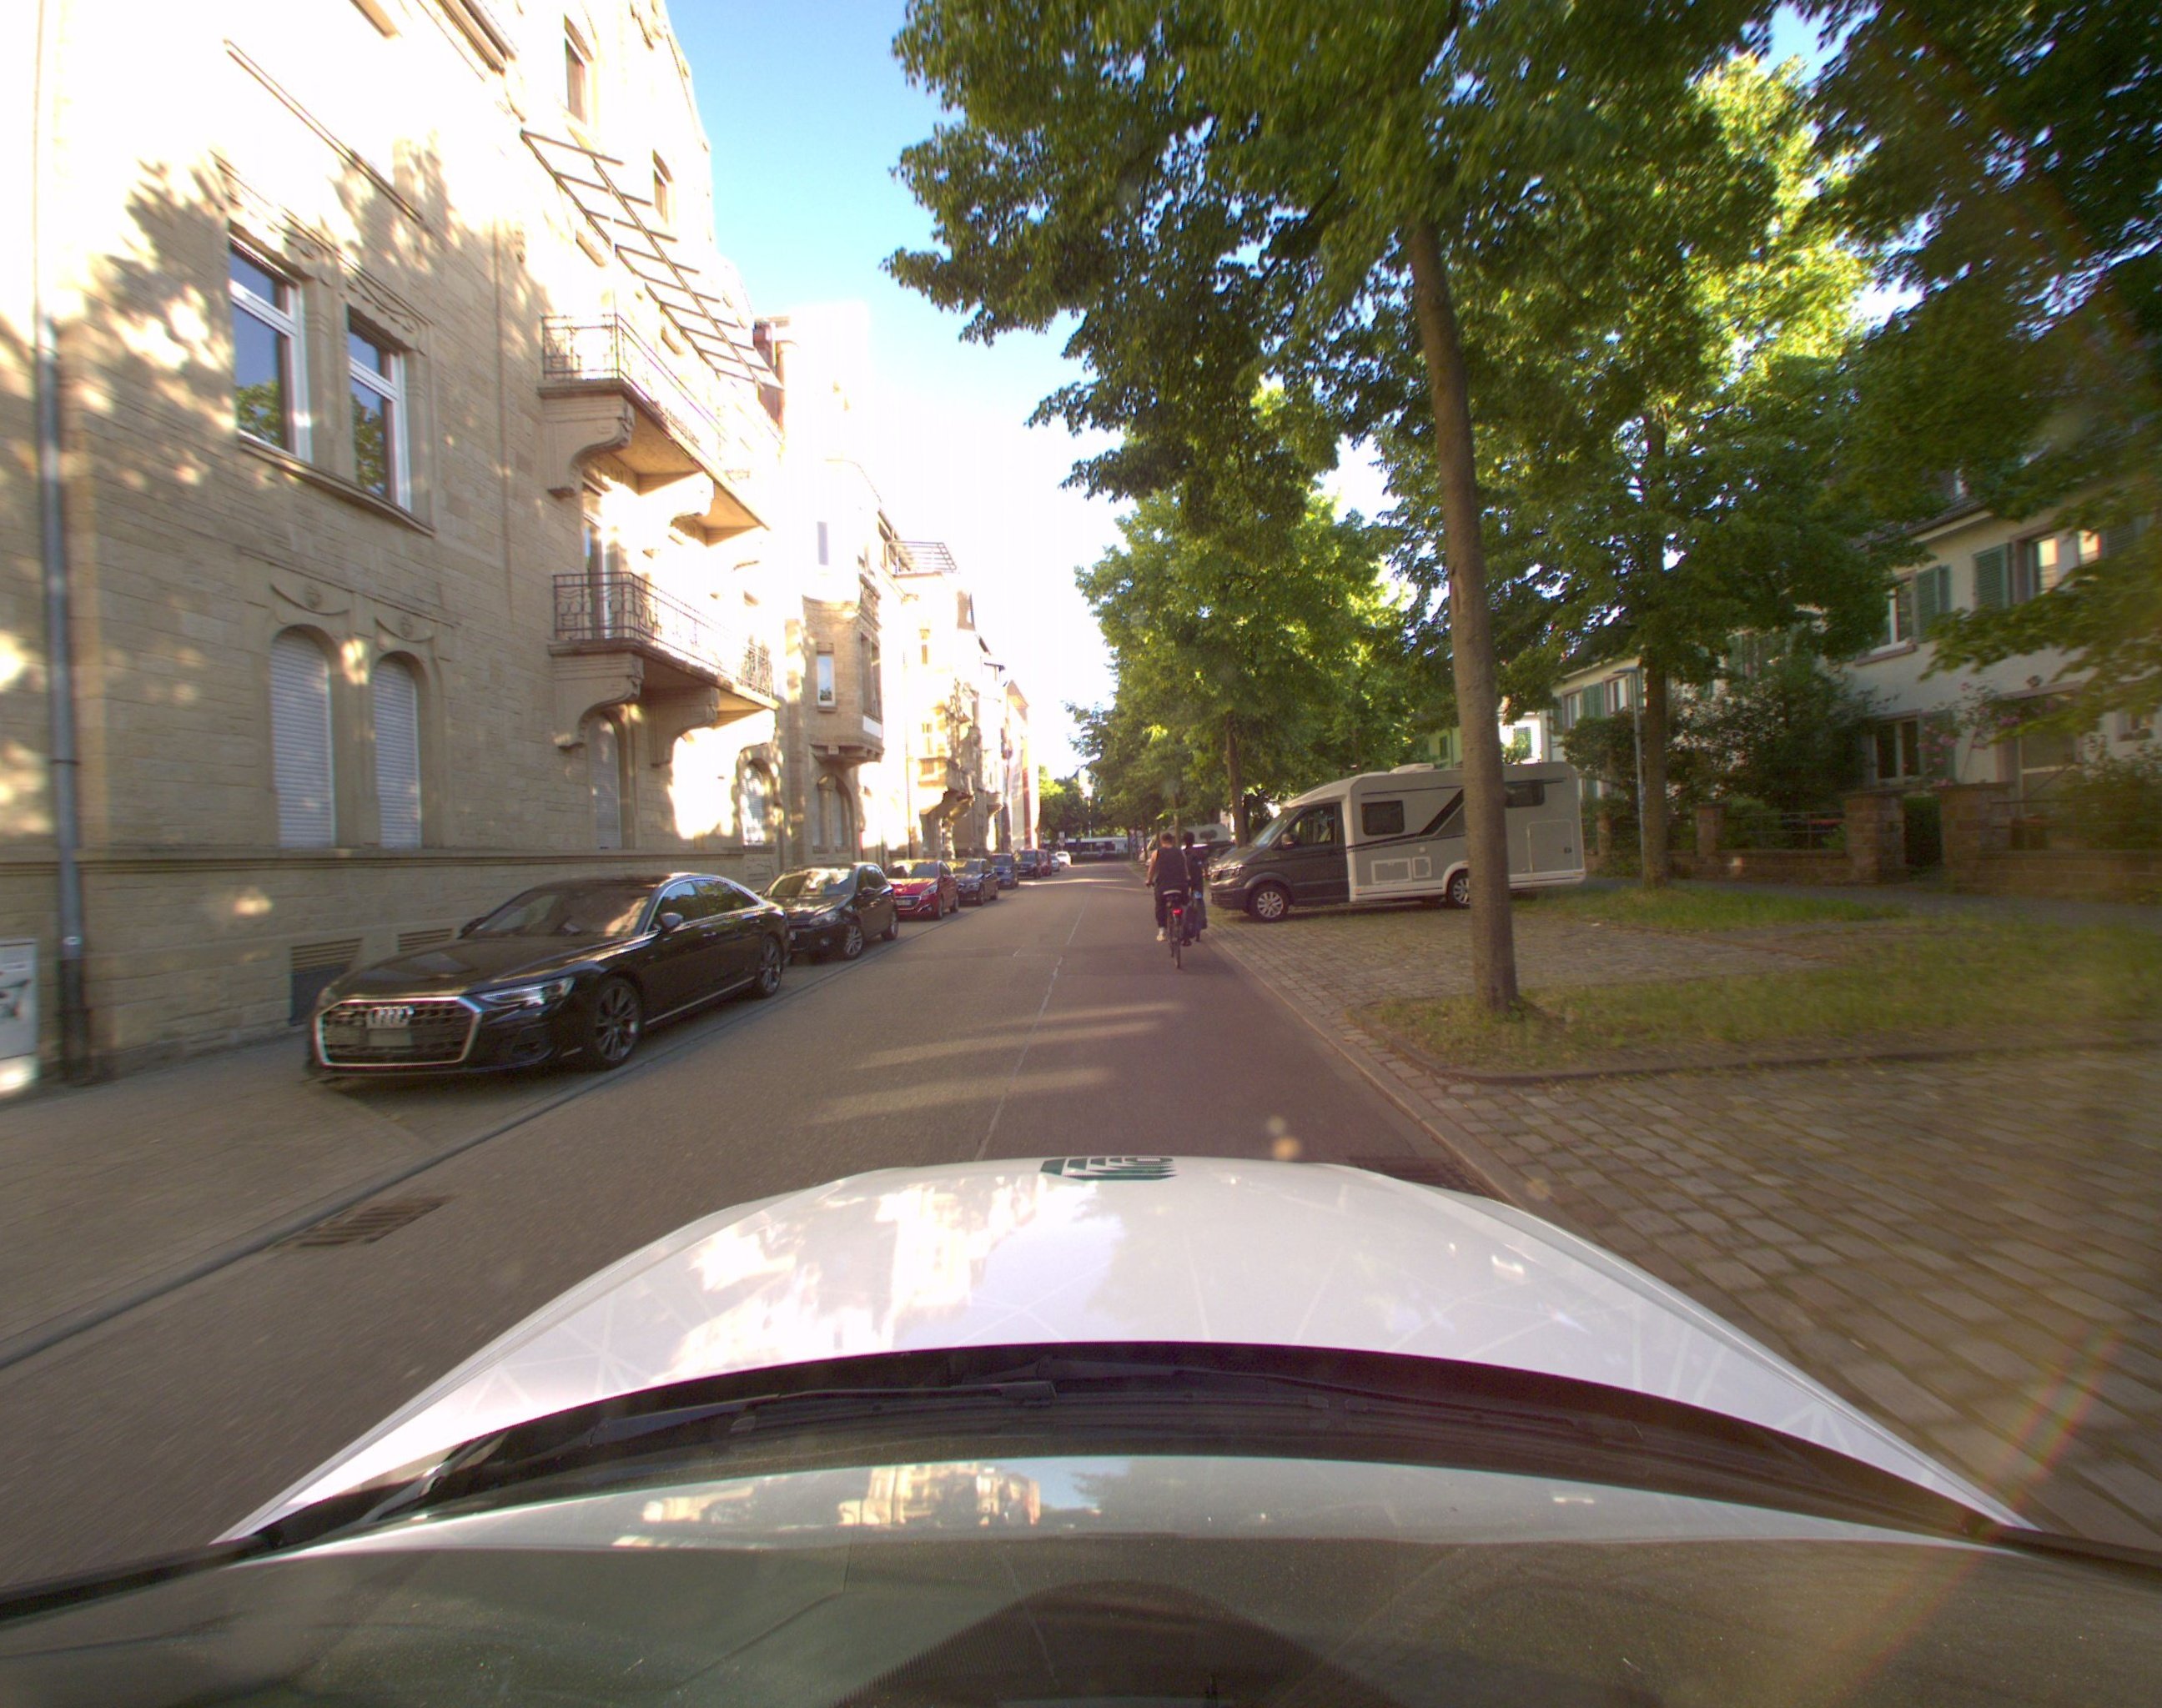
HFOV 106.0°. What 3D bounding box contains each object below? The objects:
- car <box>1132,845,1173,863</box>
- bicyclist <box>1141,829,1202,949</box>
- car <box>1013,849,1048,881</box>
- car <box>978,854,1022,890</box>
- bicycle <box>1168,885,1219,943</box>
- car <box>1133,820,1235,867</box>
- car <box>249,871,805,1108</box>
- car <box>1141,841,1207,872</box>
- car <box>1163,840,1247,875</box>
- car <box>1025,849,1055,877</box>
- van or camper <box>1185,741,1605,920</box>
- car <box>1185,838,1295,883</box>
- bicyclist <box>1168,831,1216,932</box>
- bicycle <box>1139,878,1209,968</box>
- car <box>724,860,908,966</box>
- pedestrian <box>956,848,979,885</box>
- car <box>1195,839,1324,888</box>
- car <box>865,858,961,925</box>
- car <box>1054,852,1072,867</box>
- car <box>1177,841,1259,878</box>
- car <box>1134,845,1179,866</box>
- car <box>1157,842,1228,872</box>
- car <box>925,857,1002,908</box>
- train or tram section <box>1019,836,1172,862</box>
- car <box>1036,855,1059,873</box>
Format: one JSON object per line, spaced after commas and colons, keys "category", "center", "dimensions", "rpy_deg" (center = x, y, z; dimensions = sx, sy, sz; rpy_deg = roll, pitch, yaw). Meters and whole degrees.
{"category": "car", "center": [7.289, -0.008, 83.183], "dimensions": [3.975, 1.803, 1.833], "rpy_deg": [-1, -1, -1]}
{"category": "bicyclist", "center": [1.197, 0.451, 10.952], "dimensions": [0.727, 1.547, 0.884], "rpy_deg": [0, -1, 0]}
{"category": "car", "center": [-3.006, 0.626, 49.065], "dimensions": [1.634, 1.783, 4.357], "rpy_deg": [0, 1, 2]}
{"category": "car", "center": [-3.528, 0.761, 35.766], "dimensions": [1.590, 1.489, 2.736], "rpy_deg": [1, 1, 0]}
{"category": "bicycle", "center": [1.867, 0.972, 13.729], "dimensions": [0.631, 0.799, 1.833], "rpy_deg": [-3, 0, 2]}
{"category": "car", "center": [7.655, -0.755, 60.945], "dimensions": [7.126, 2.978, 2.463], "rpy_deg": [-4, 0, -1]}
{"category": "car", "center": [-4.409, 0.924, 7.714], "dimensions": [1.804, 1.427, 4.899], "rpy_deg": [0, 0, 1]}
{"category": "car", "center": [6.075, 0.138, 53.622], "dimensions": [4.070, 1.650, 1.640], "rpy_deg": [-5, 0, -1]}
{"category": "car", "center": [6.427, 0.187, 42.530], "dimensions": [4.121, 1.600, 1.704], "rpy_deg": [-3, -2, 3]}
{"category": "car", "center": [-2.787, 0.592, 56.092], "dimensions": [1.682, 1.825, 4.275], "rpy_deg": [0, 1, 2]}
{"category": "van or camper", "center": [5.796, -0.409, 15.964], "dimensions": [7.117, 2.647, 2.466], "rpy_deg": [-5, 0, 3]}
{"category": "car", "center": [6.472, 0.272, 33.570], "dimensions": [4.205, 1.600, 1.692], "rpy_deg": [-3, -2, 3]}
{"category": "bicyclist", "center": [1.856, 0.440, 13.715], "dimensions": [0.686, 1.626, 0.999], "rpy_deg": [-1, 0, 2]}
{"category": "bicycle", "center": [1.199, 0.866, 10.901], "dimensions": [0.735, 1.054, 1.956], "rpy_deg": [0, -1, 1]}
{"category": "car", "center": [-4.208, 0.857, 13.622], "dimensions": [1.690, 1.453, 4.027], "rpy_deg": [-2, -1, 0]}
{"category": "pedestrian", "center": [-5.335, 0.583, 38.358], "dimensions": [0.934, 1.742, 0.735], "rpy_deg": [-1, -1, 2]}
{"category": "car", "center": [6.100, 0.316, 28.079], "dimensions": [4.022, 1.454, 1.689], "rpy_deg": [-2, 0, -3]}
{"category": "car", "center": [-4.142, 0.873, 20.592], "dimensions": [1.624, 1.453, 3.837], "rpy_deg": [-1, 0, -1]}
{"category": "car", "center": [-1.827, 0.555, 84.362], "dimensions": [1.577, 1.375, 4.134], "rpy_deg": [0, 1, 2]}
{"category": "car", "center": [6.670, 0.288, 39.960], "dimensions": [3.757, 1.600, 1.692], "rpy_deg": [-3, -2, 3]}
{"category": "car", "center": [6.967, 0.130, 75.297], "dimensions": [3.975, 1.803, 1.833], "rpy_deg": [-1, -1, -1]}
{"category": "car", "center": [6.936, 0.194, 50.924], "dimensions": [4.126, 1.600, 1.702], "rpy_deg": [-3, -2, -1]}
{"category": "car", "center": [-3.746, 0.868, 26.725], "dimensions": [1.669, 1.430, 4.553], "rpy_deg": [0, 1, 2]}
{"category": "train or tram section", "center": [2.487, -0.822, 126.819], "dimensions": [23.891, 3.708, 4.256], "rpy_deg": [-1, -1, -21]}
{"category": "car", "center": [-2.716, 0.779, 67.007], "dimensions": [1.577, 1.343, 4.134], "rpy_deg": [0, 1, 2]}
